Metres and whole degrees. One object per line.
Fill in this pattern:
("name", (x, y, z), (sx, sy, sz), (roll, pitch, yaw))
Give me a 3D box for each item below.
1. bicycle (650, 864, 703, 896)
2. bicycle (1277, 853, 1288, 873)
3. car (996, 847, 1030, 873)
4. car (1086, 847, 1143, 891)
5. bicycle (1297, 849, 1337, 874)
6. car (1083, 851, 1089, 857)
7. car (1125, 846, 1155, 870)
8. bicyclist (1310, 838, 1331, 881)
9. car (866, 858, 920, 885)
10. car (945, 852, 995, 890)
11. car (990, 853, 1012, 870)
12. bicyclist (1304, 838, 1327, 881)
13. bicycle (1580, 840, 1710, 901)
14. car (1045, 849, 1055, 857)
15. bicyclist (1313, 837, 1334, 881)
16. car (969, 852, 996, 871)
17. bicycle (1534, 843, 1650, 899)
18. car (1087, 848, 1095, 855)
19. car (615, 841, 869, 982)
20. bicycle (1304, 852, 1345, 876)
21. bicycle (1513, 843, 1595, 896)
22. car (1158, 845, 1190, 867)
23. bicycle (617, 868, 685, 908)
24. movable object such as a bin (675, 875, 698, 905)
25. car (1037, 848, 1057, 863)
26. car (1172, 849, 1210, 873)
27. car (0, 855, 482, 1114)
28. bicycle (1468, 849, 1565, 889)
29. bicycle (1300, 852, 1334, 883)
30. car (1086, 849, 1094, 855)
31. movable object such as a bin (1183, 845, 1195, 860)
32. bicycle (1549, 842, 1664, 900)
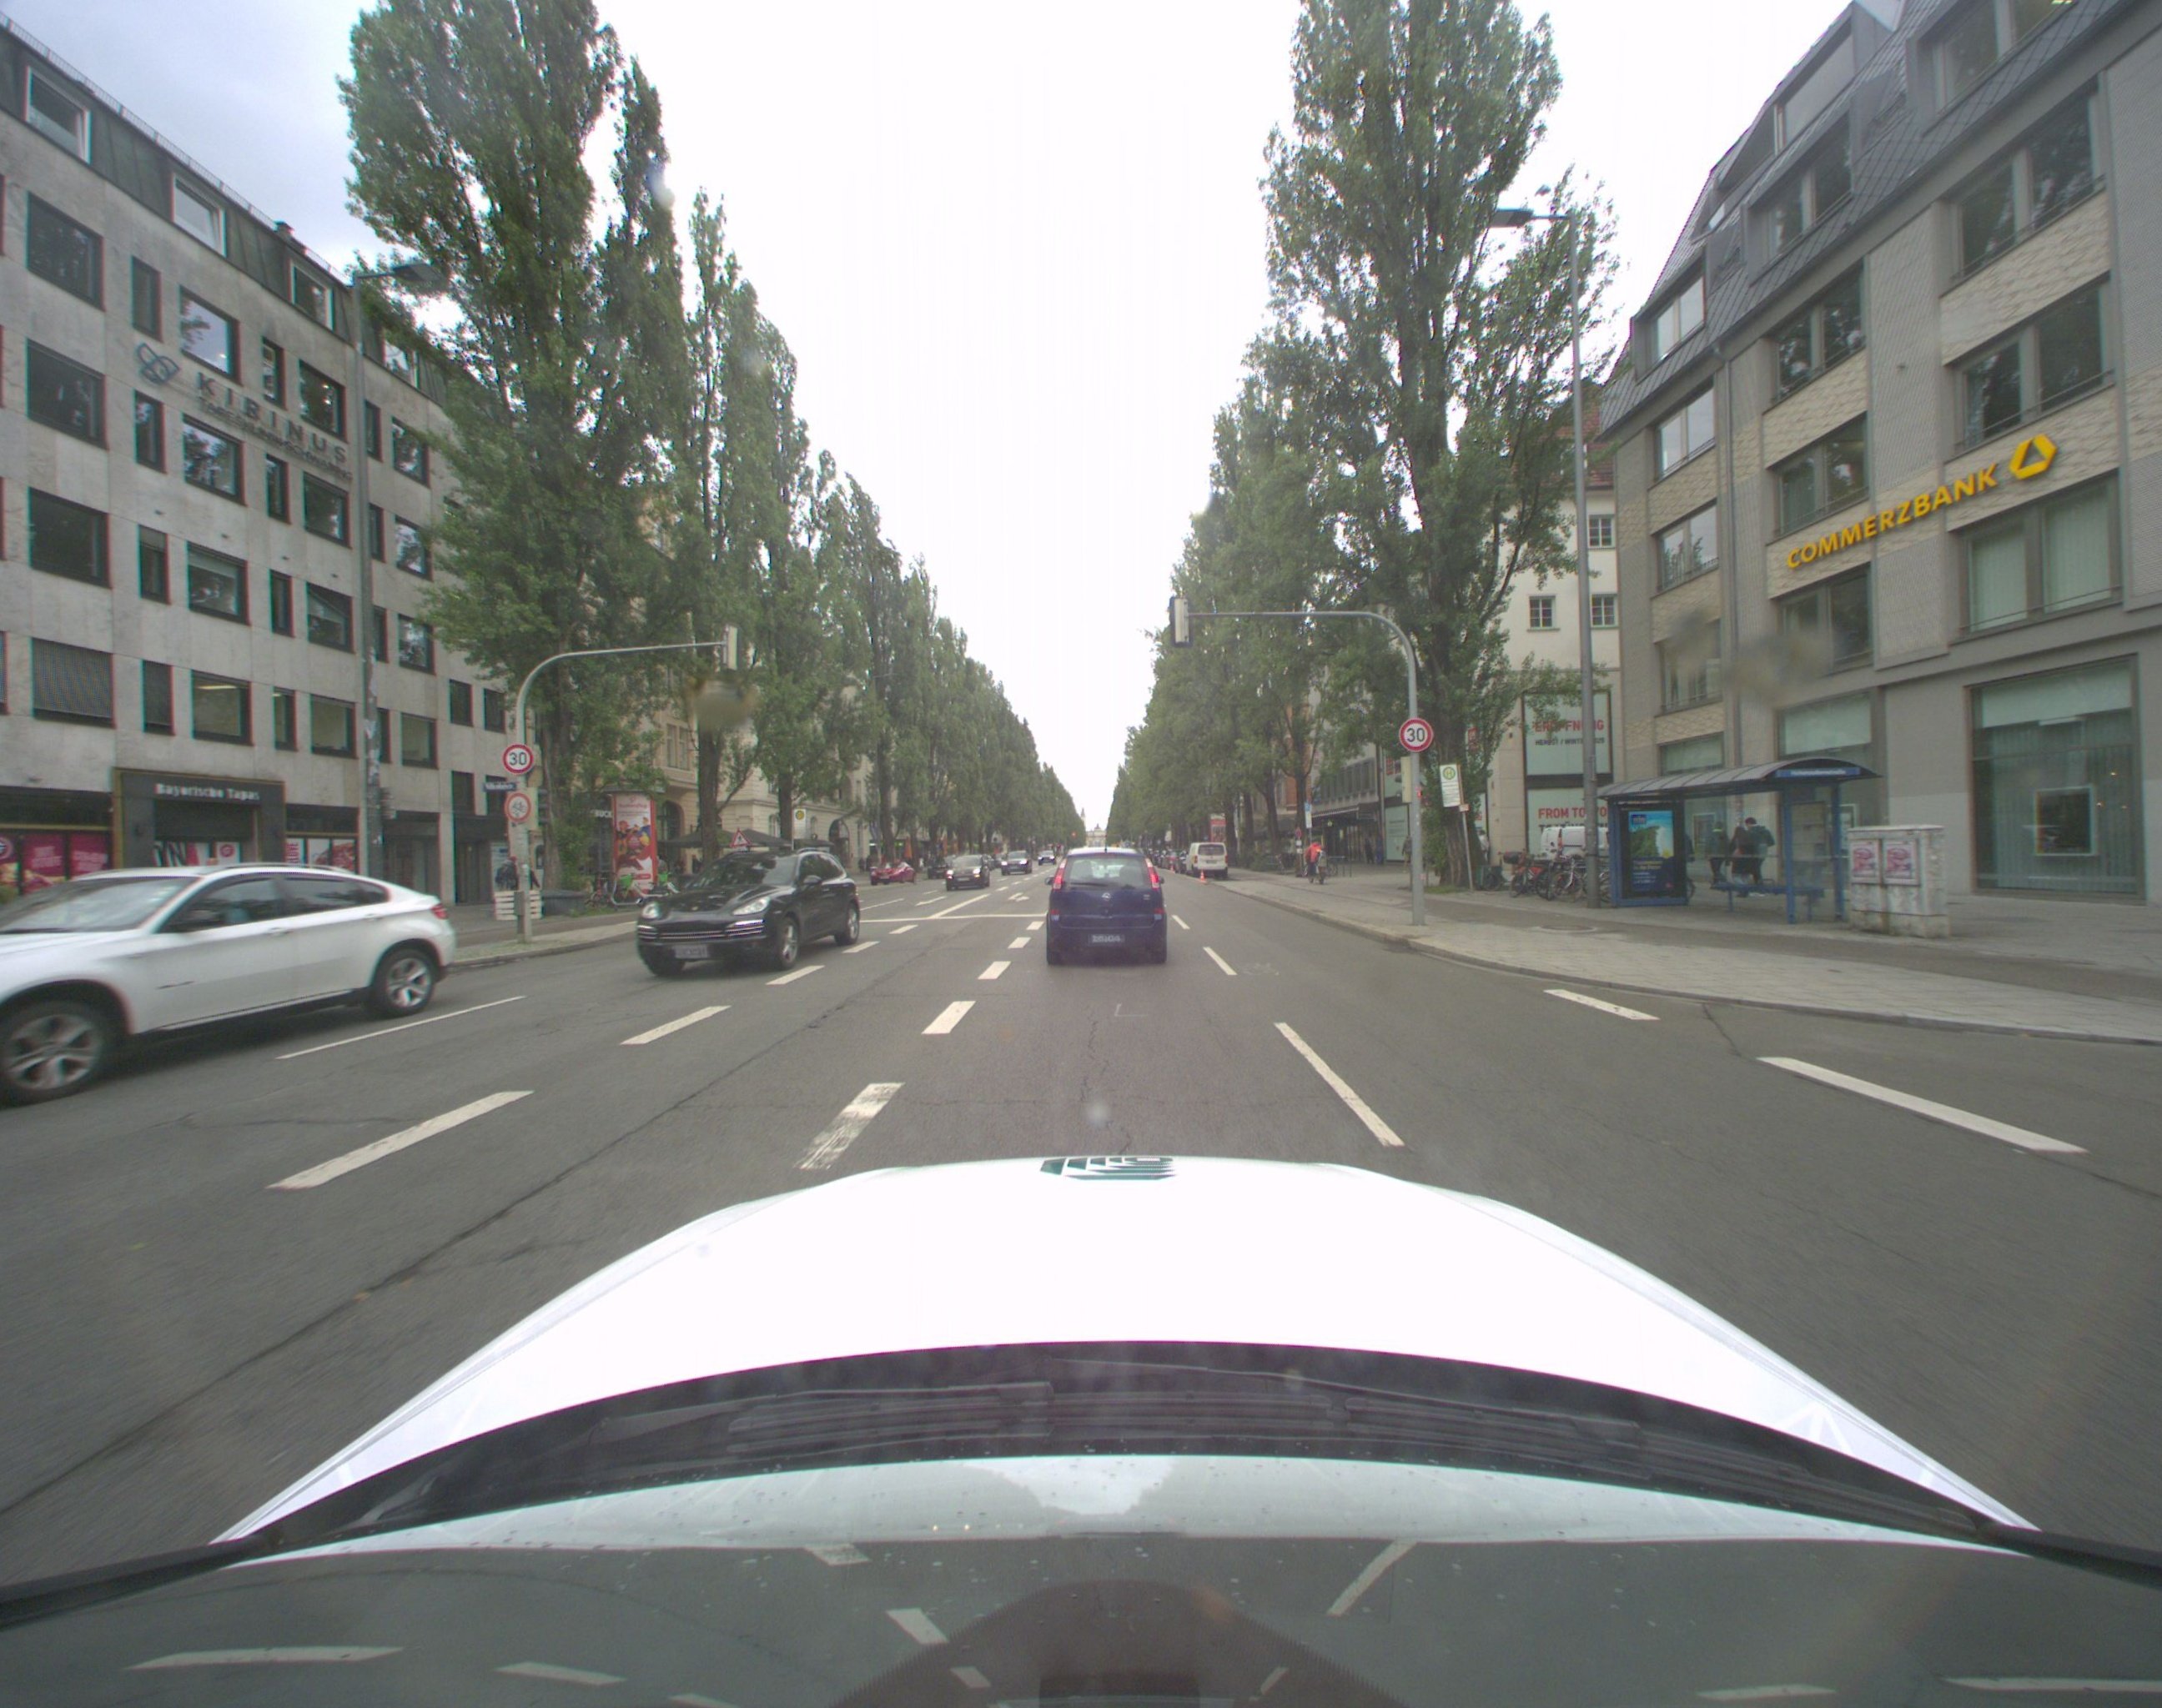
("bicycle", (-14.676, 0.932, 29.621), (0.502, 1.088, 1.820), (0, 0, 24))
("bicycle", (10.676, 0.454, 43.161), (0.362, 1.038, 1.735), (-2, 0, 9))
("car", (-4.795, 0.390, 57.853), (1.906, 1.680, 4.587), (-2, 0, 1))
("car", (1.191, 0.503, 30.923), (1.987, 1.497, 4.000), (-2, 0, 0))
("bicycle", (11.064, 0.354, 38.163), (1.737, 1.110, 0.447), (-2, 0, -9))
("car", (1.574, 0.036, 256.049), (1.829, 1.677, 3.779), (-2, 0, 1))
("car", (4.001, 0.241, 55.906), (1.701, 1.574, 3.998), (-2, 0, -1))
("bicyclist", (8.922, 0.200, 30.329), (0.619, 1.588, 0.481), (-2, 0, 0))
("car", (-10.246, 0.932, 44.688), (1.872, 1.298, 4.096), (-2, 0, 2))
("car", (-4.824, 0.701, 35.773), (1.556, 1.496, 3.695), (-3, 0, 0))
("car", (-8.851, 0.827, 90.393), (1.859, 1.654, 4.615), (-4, 0, 0))
("bicyclist", (8.930, 0.200, 31.092), (0.619, 1.588, 0.753), (-2, 0, 0))
("bicycle", (12.072, 0.366, 17.504), (2.219, 1.252, 0.480), (-1, 0, 25))
("car", (-7.074, -0.251, 183.986), (1.987, 1.662, 4.000), (-2, 0, 0))
("bicyclist", (8.920, 0.199, 29.988), (0.619, 1.588, 0.391), (-2, 0, 0))
("car", (-8.908, 0.687, 73.847), (1.776, 1.575, 4.133), (-3, 0, 1))
("bicycle", (12.071, 0.388, 19.264), (2.335, 1.252, 0.633), (-2, 0, 0))
("car", (2.537, -0.609, 209.709), (1.829, 1.761, 3.779), (-2, 0, 1))
("car", (-4.892, 0.719, 12.573), (1.877, 1.746, 4.441), (-2, 0, 2))
("bicycle", (11.190, 0.455, 37.480), (1.758, 1.044, 0.482), (-2, 0, -10))
("bicycle", (11.636, 0.382, 20.055), (1.718, 1.239, 0.450), (-2, 0, 2))
("car", (6.991, 0.147, 61.551), (1.812, 1.506, 4.229), (-2, 0, -2))
("bicycle", (-14.468, 1.133, 27.441), (1.965, 1.289, 0.502), (0, 0, -42))
("movable object such as a bin", (-13.988, 1.268, 28.860), (0.726, 1.041, 0.848), (0, 0, -28))
("car", (-3.883, 0.175, 93.540), (1.928, 1.623, 4.337), (-2, 0, 1))
("car", (6.791, 0.410, 50.742), (1.714, 1.442, 4.352), (0, 0, -1))
("car", (-8.164, 0.920, 7.410), (1.830, 1.716, 4.637), (-2, 0, 2))
("bicycle", (11.795, 0.390, 22.105), (2.141, 1.017, 0.874), (-2, 0, 0))
("bicycle", (8.940, 0.493, 30.920), (0.624, 1.086, 2.263), (-2, 0, 0))
("car", (2.256, -0.434, 204.456), (1.955, 1.399, 3.779), (-2, 0, 0))
("movable object such as a bin", (12.647, -0.227, 95.296), (1.030, 1.703, 1.585), (-2, 0, -3))
("bicycle", (12.014, 0.380, 18.654), (2.307, 1.252, 0.477), (-2, 0, 0))
